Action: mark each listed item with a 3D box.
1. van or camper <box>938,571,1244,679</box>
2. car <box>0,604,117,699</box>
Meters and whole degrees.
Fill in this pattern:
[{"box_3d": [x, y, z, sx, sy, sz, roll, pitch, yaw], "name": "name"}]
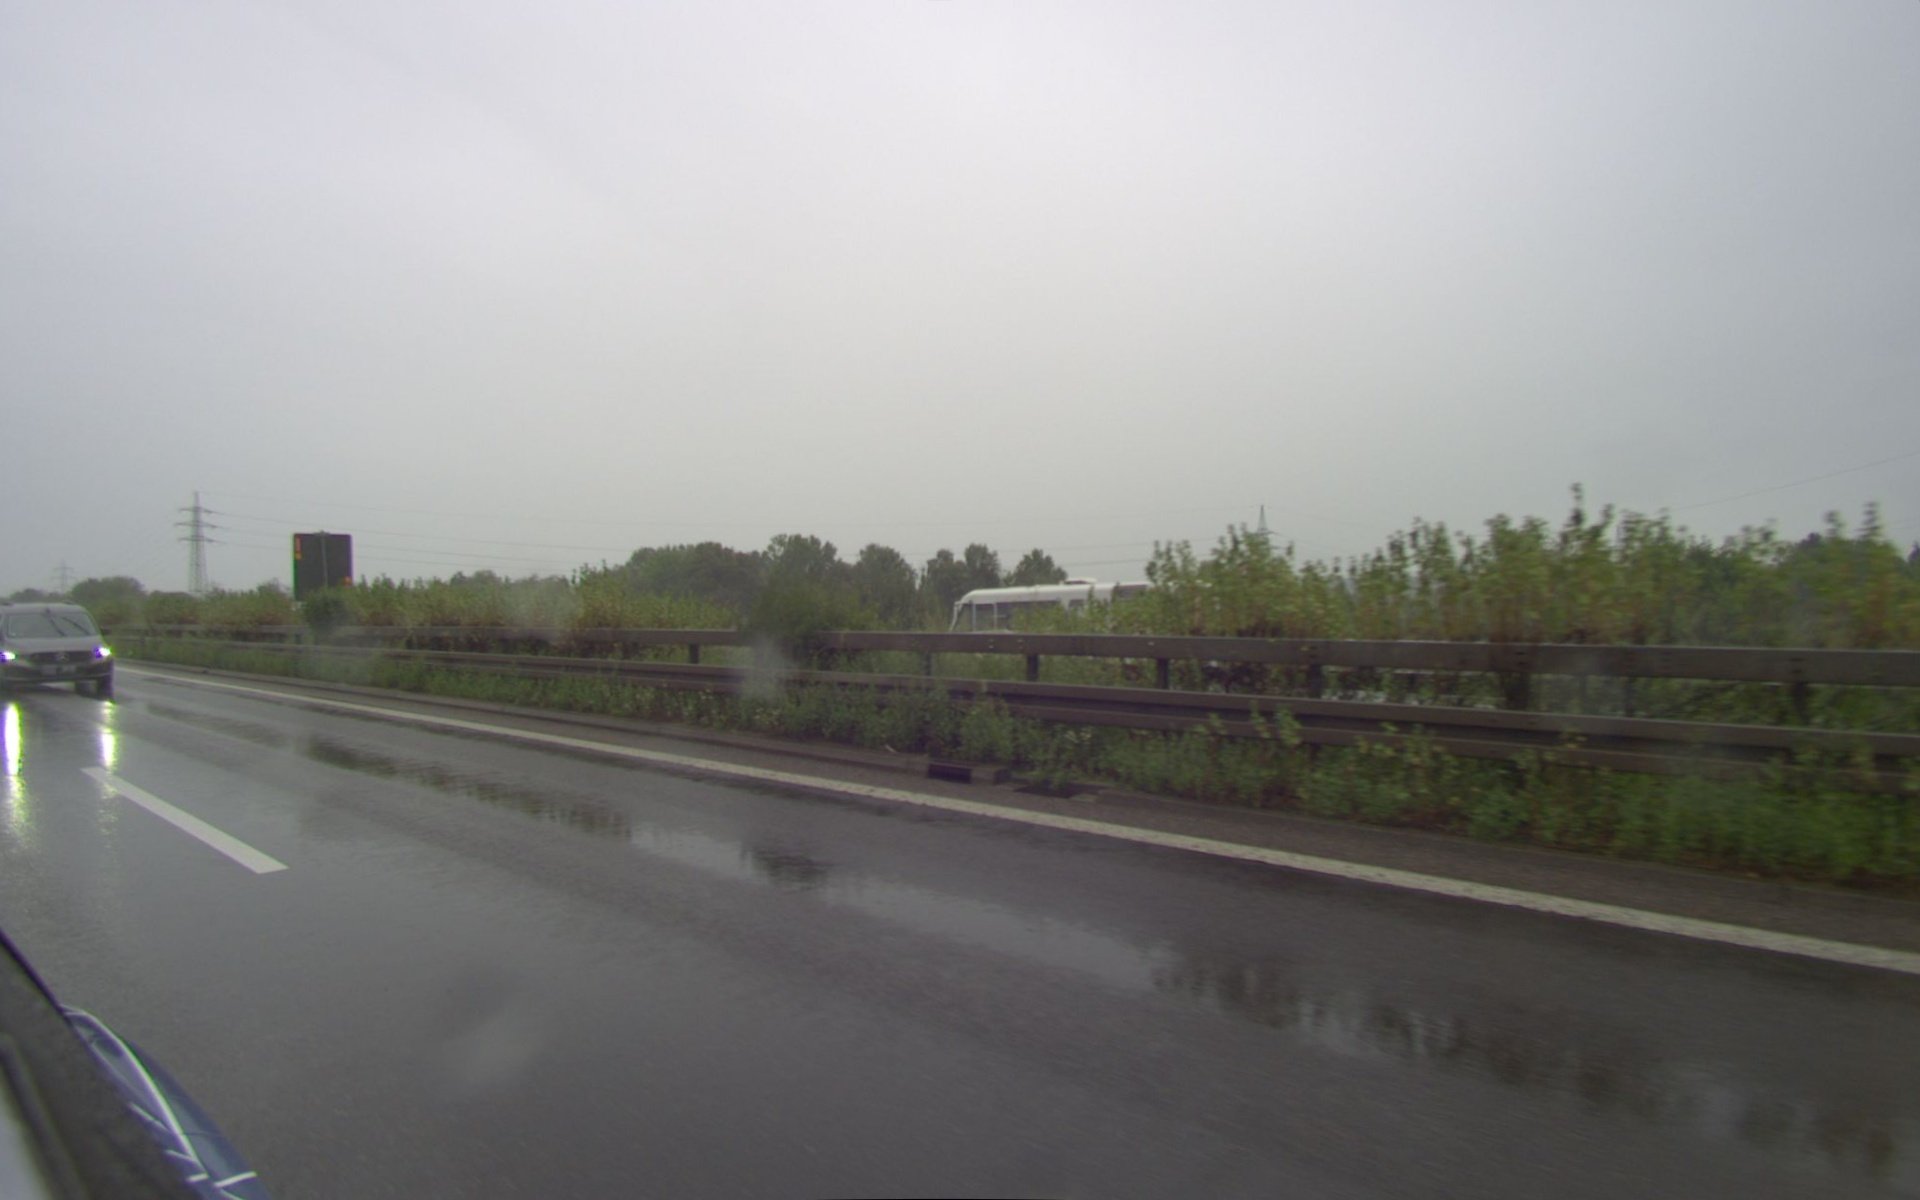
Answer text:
[{"box_3d": [3.064, 0.601, 25.340, 7.333, 2.292, 2.578, -2, 1, 41], "name": "van or camper"}, {"box_3d": [-19.444, 1.045, 21.356, 4.501, 1.787, 2.019, -2, -1, 43], "name": "car"}]
